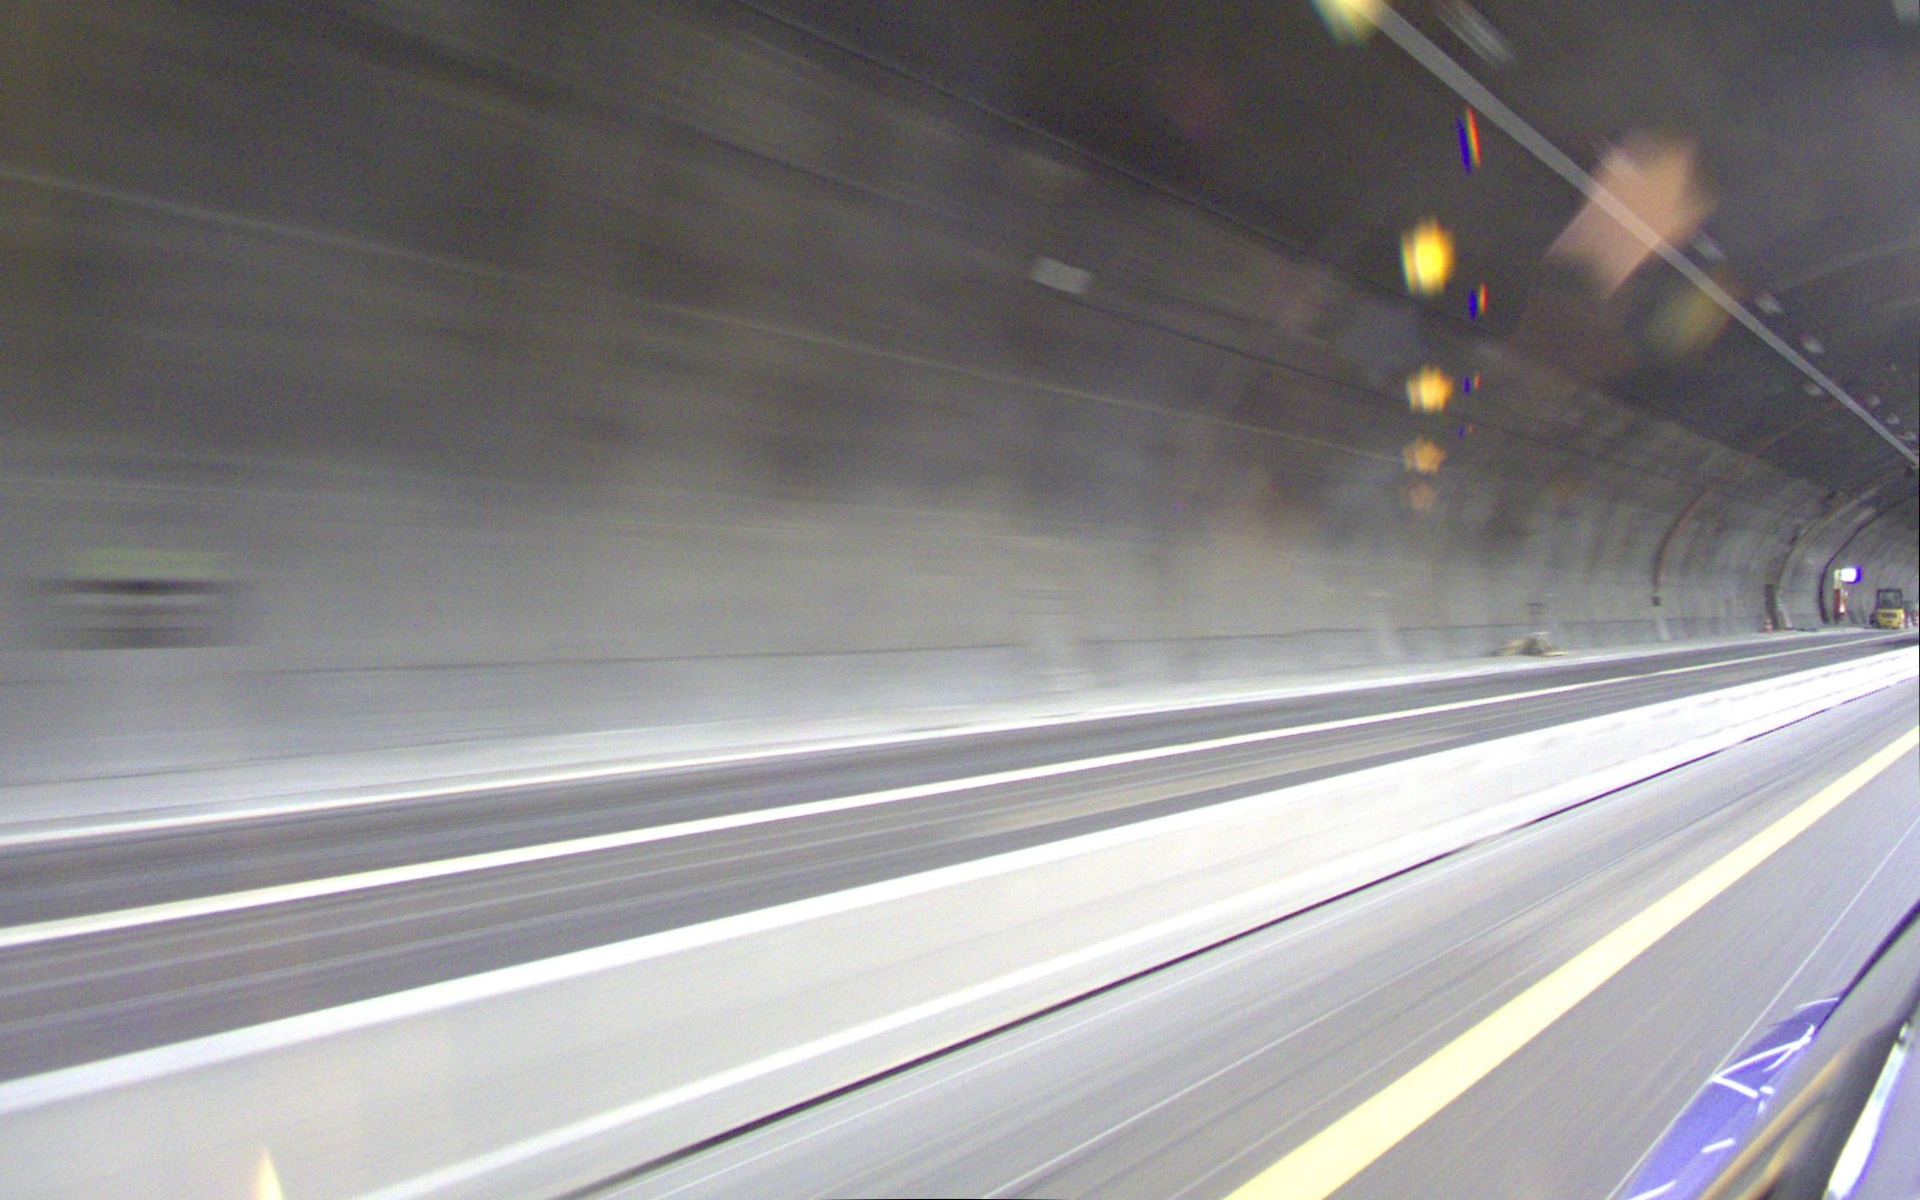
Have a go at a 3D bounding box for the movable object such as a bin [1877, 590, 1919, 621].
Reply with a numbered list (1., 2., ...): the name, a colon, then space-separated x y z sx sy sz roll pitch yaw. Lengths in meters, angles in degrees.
1. movable object such as a bin: 54.642 0.290 58.934 3.002 1.730 1.558 0 1 -42

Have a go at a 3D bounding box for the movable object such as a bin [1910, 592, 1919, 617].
1. movable object such as a bin: 63.463 0.340 66.385 3.002 1.613 1.306 1 4 -42

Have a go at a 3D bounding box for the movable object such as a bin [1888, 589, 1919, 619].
1. movable object such as a bin: 58.946 0.289 62.486 4.423 1.695 1.865 1 4 -42

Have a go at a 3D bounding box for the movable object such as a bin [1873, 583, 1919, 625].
1. movable object such as a bin: 50.830 0.184 54.705 4.548 2.172 1.686 0 1 -42
